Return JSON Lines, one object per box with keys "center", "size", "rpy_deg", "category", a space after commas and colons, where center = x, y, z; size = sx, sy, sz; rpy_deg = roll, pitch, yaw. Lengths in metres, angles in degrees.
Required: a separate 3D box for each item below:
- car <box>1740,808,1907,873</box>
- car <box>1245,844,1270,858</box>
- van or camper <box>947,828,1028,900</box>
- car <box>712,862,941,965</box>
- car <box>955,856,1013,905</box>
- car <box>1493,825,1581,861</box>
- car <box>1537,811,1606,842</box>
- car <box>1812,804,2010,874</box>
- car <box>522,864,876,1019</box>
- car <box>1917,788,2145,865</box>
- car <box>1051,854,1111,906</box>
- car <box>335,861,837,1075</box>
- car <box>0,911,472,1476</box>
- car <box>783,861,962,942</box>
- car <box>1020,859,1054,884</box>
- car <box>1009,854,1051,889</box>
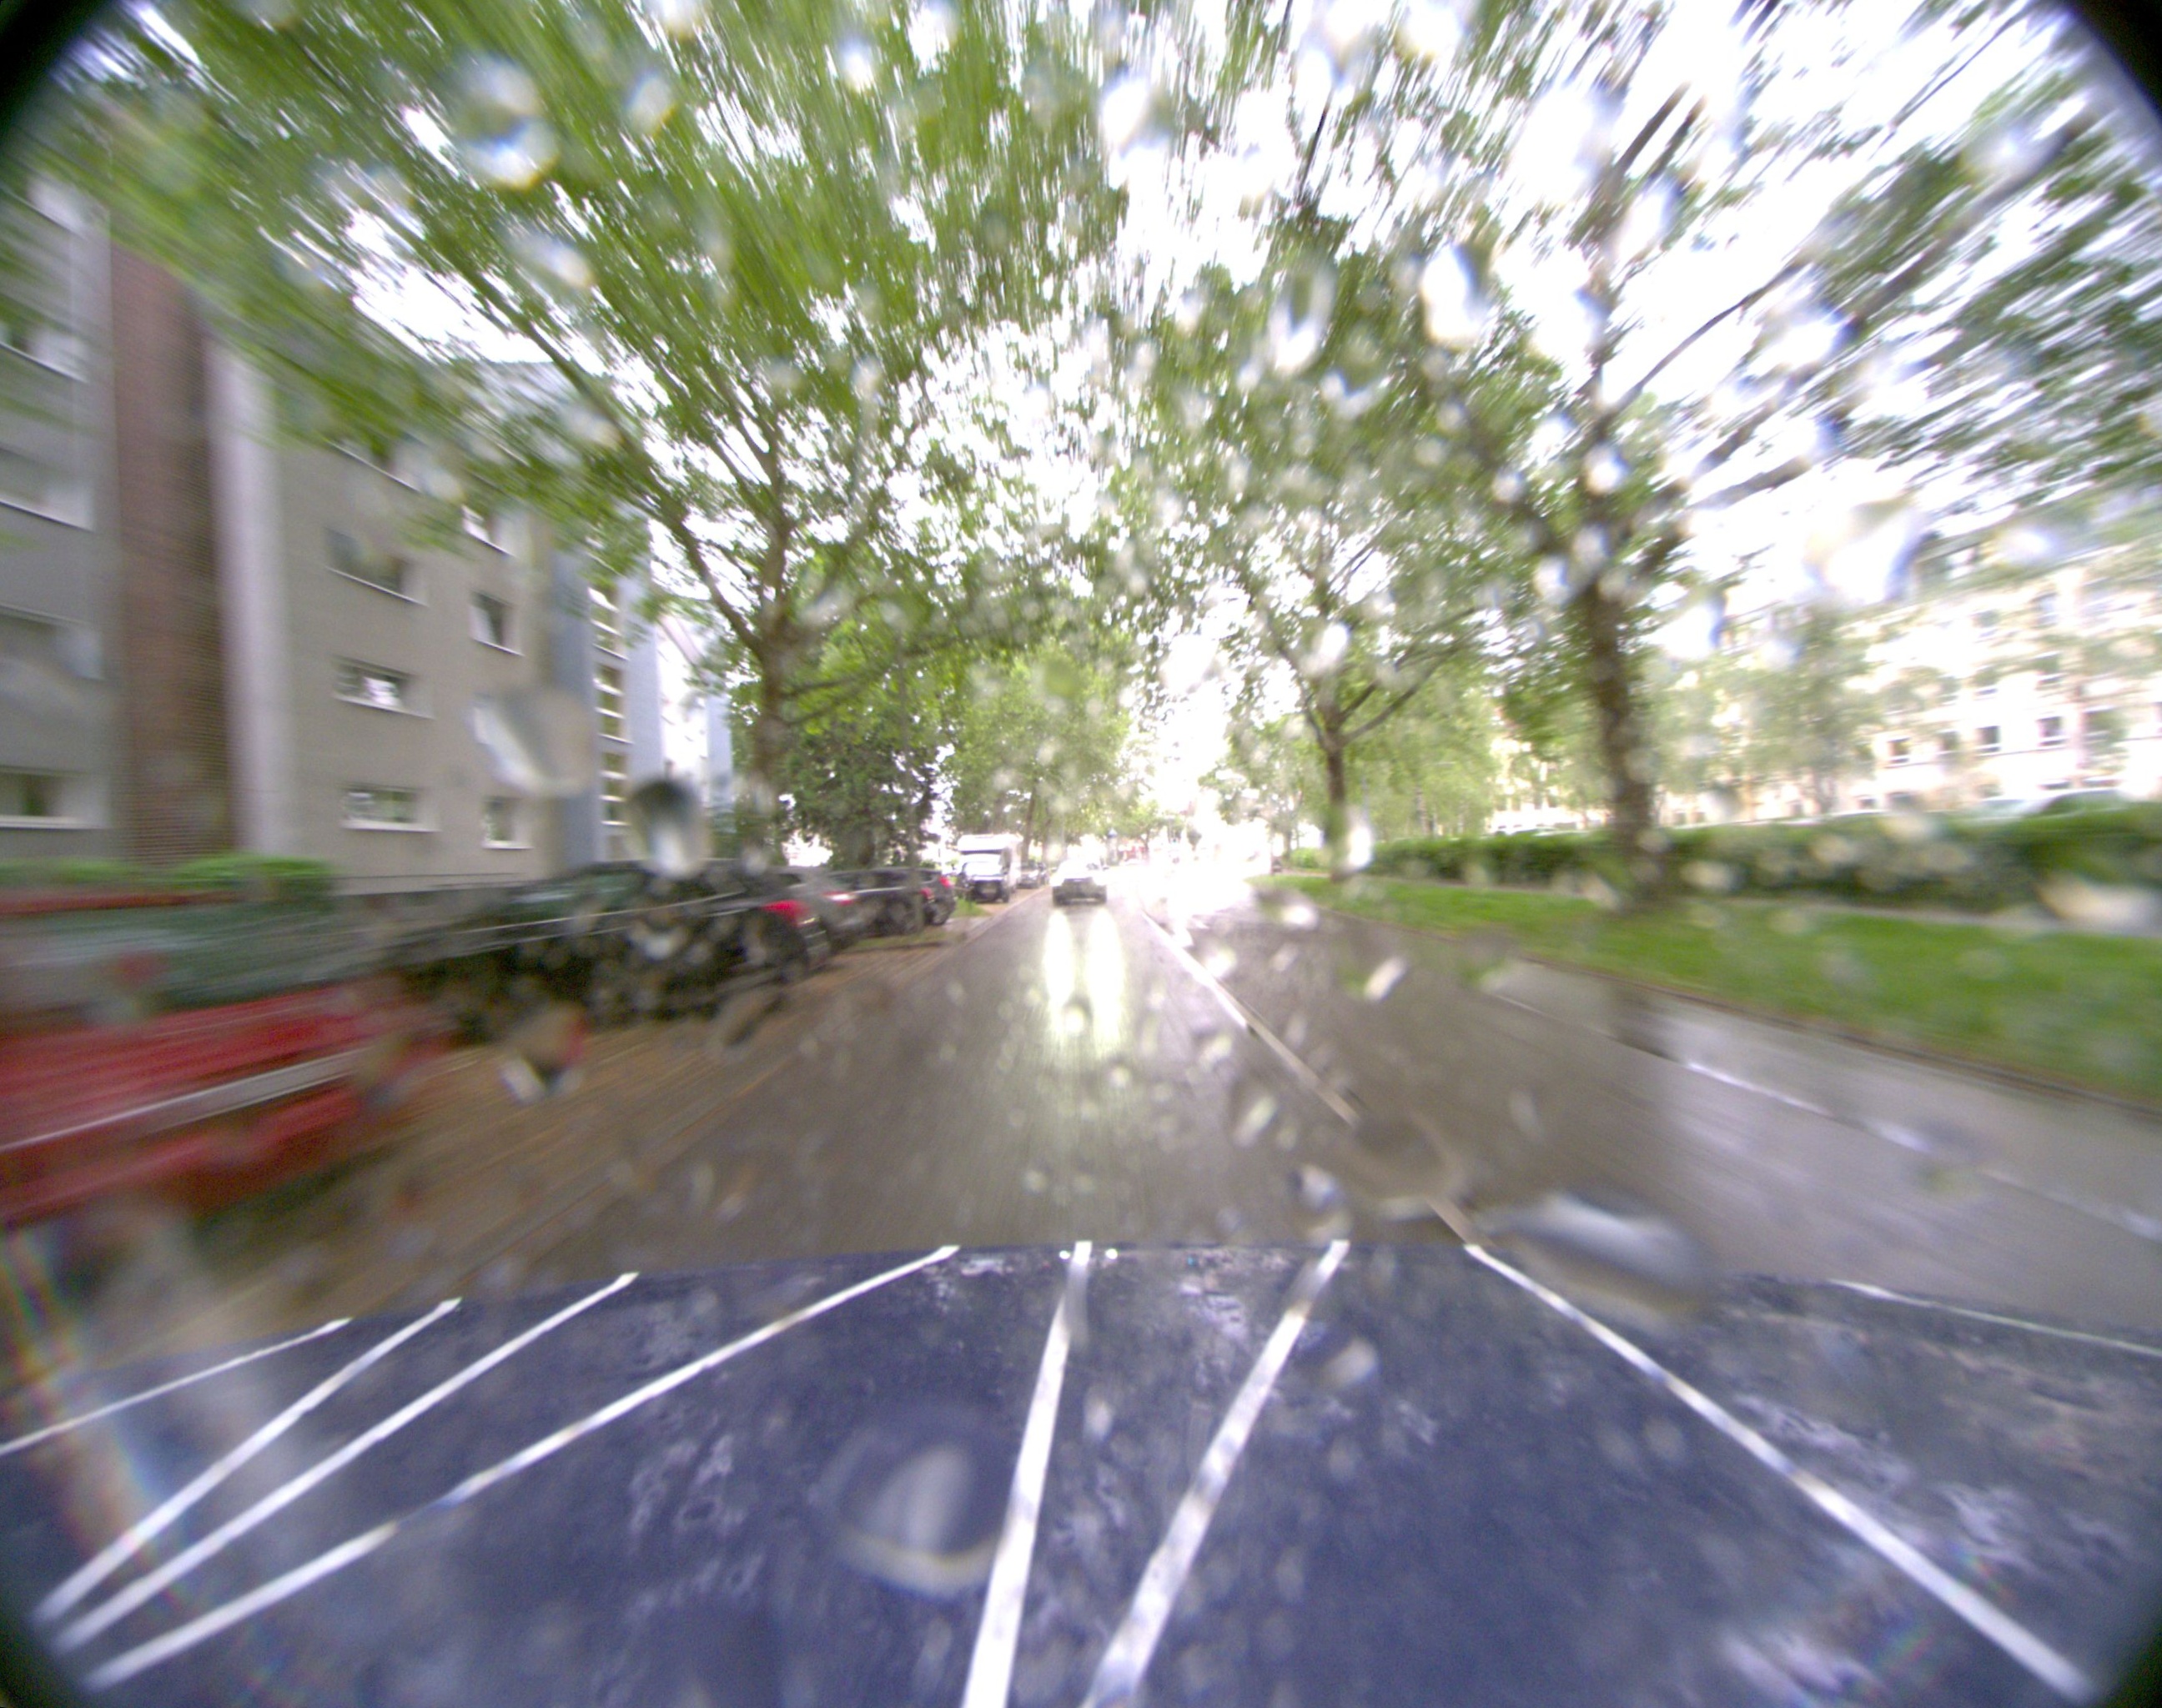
{"center": [26.887, -0.461, 27.621], "size": [3.996, 2.120, 2.000], "rpy_deg": [-2, 0, 2], "category": "car"}
{"center": [31.484, -0.558, 135.669], "size": [2.190, 2.242, 4.894], "rpy_deg": [-4, 0, 41], "category": "car"}
{"center": [-3.999, 0.407, 33.949], "size": [2.324, 2.791, 6.865], "rpy_deg": [-3, 0, 2], "category": "van or camper"}
{"center": [-5.067, 1.097, 15.199], "size": [4.005, 1.592, 1.799], "rpy_deg": [-3, 0, -29], "category": "car"}
{"center": [-3.703, 0.970, 28.603], "size": [1.693, 1.643, 2.943], "rpy_deg": [-3, 0, -15], "category": "car"}
{"center": [26.668, -0.620, 44.504], "size": [3.998, 1.822, 1.854], "rpy_deg": [-3, 0, -3], "category": "car"}
{"center": [57.945, -3.270, 89.912], "size": [6.212, 3.175, 2.838], "rpy_deg": [-3, 0, -2], "category": "car"}
{"center": [26.295, -0.456, 24.191], "size": [3.996, 2.002, 2.000], "rpy_deg": [-2, 0, 2], "category": "car"}
{"center": [-5.165, 1.070, 10.709], "size": [4.005, 1.592, 2.032], "rpy_deg": [-3, 0, -26], "category": "car"}
{"center": [27.424, -0.754, 22.056], "size": [3.996, 2.002, 2.000], "rpy_deg": [-2, 0, 2], "category": "car"}
{"center": [0.080, 0.871, 27.192], "size": [1.961, 1.701, 4.175], "rpy_deg": [1, 0, 2], "category": "car"}
{"center": [-4.672, 0.950, 7.790], "size": [3.873, 1.687, 1.834], "rpy_deg": [0, -2, -27], "category": "car"}
{"center": [-4.952, 1.073, 3.027], "size": [3.712, 1.527, 1.738], "rpy_deg": [-1, 0, 4], "category": "car"}
{"center": [-5.048, 1.088, 18.440], "size": [3.774, 1.592, 1.799], "rpy_deg": [-3, 0, -29], "category": "car"}
{"center": [-2.649, 1.040, 46.919], "size": [1.552, 1.382, 4.150], "rpy_deg": [-4, 0, 3], "category": "car"}
{"center": [-2.688, 0.908, 41.222], "size": [1.920, 1.611, 4.452], "rpy_deg": [-3, 1, 0], "category": "car"}
